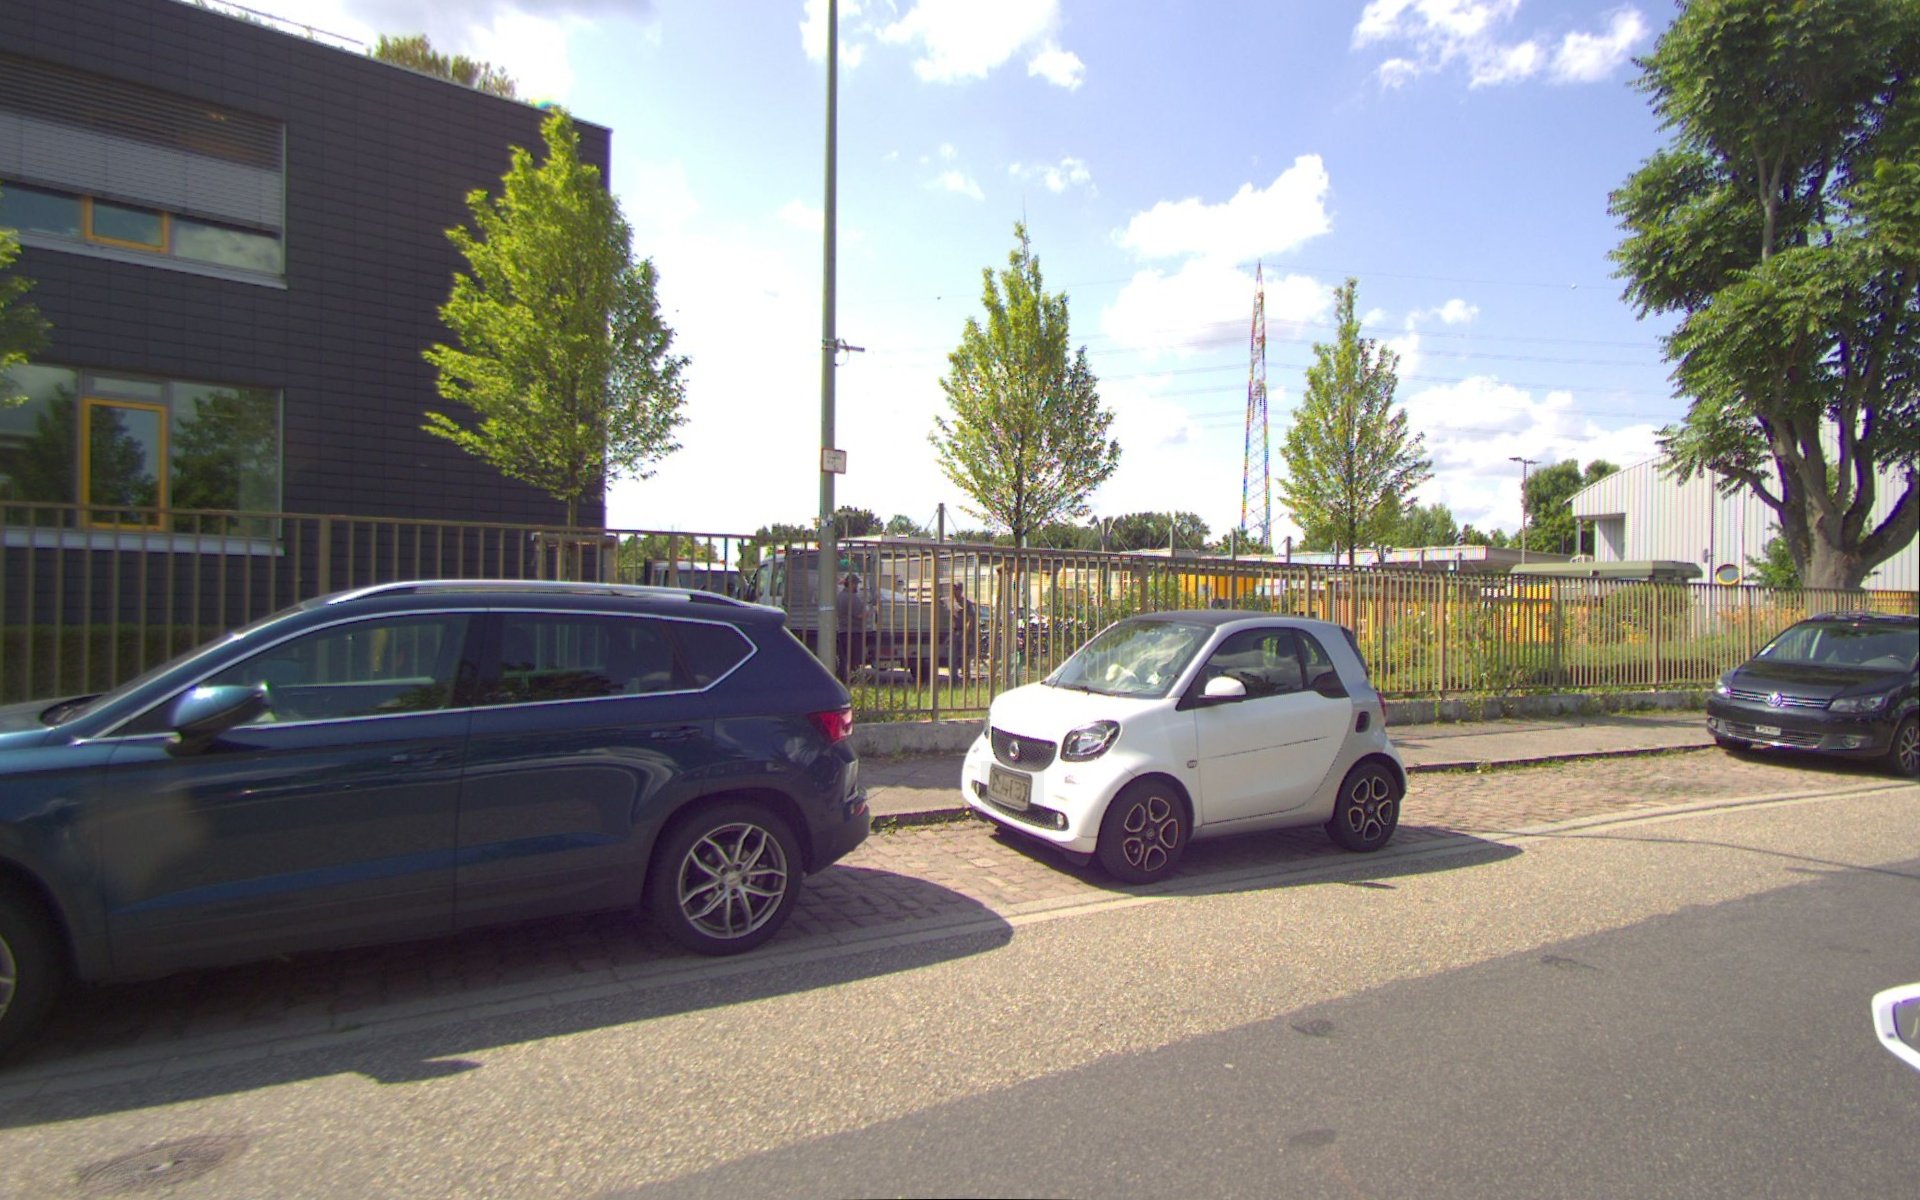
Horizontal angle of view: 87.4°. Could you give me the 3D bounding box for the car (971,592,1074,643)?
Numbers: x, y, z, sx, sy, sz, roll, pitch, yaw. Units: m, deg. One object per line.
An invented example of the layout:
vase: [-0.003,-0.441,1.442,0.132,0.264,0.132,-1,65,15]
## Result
car: [2.309,0.632,38.191,1.732,1.711,3.958,1,1,-37]

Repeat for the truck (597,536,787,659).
truck: [-6.974,-0.054,25.411,2.382,2.693,6.865,1,0,-35]

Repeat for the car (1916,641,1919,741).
car: [15.389,1.130,13.739,4.627,1.673,1.793,1,1,-25]

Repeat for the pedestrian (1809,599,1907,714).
pedestrian: [14.555,0.905,16.295,0.832,1.785,0.827,1,1,-19]

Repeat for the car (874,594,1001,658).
car: [-0.711,0.753,29.235,1.732,1.711,3.958,1,-2,-37]

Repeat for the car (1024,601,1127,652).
car: [4.475,0.998,39.412,1.743,1.749,4.030,1,1,-37]

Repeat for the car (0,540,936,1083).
car: [-2.388,0.668,4.446,4.261,1.678,1.725,1,0,-31]

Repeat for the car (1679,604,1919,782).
car: [10.487,0.967,11.568,4.174,1.705,1.770,1,1,-26]

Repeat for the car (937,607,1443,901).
car: [1.563,0.860,6.795,3.036,1.543,1.602,1,0,-29]

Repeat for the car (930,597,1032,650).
car: [0.704,0.828,36.836,1.731,1.711,3.960,1,1,-35]
